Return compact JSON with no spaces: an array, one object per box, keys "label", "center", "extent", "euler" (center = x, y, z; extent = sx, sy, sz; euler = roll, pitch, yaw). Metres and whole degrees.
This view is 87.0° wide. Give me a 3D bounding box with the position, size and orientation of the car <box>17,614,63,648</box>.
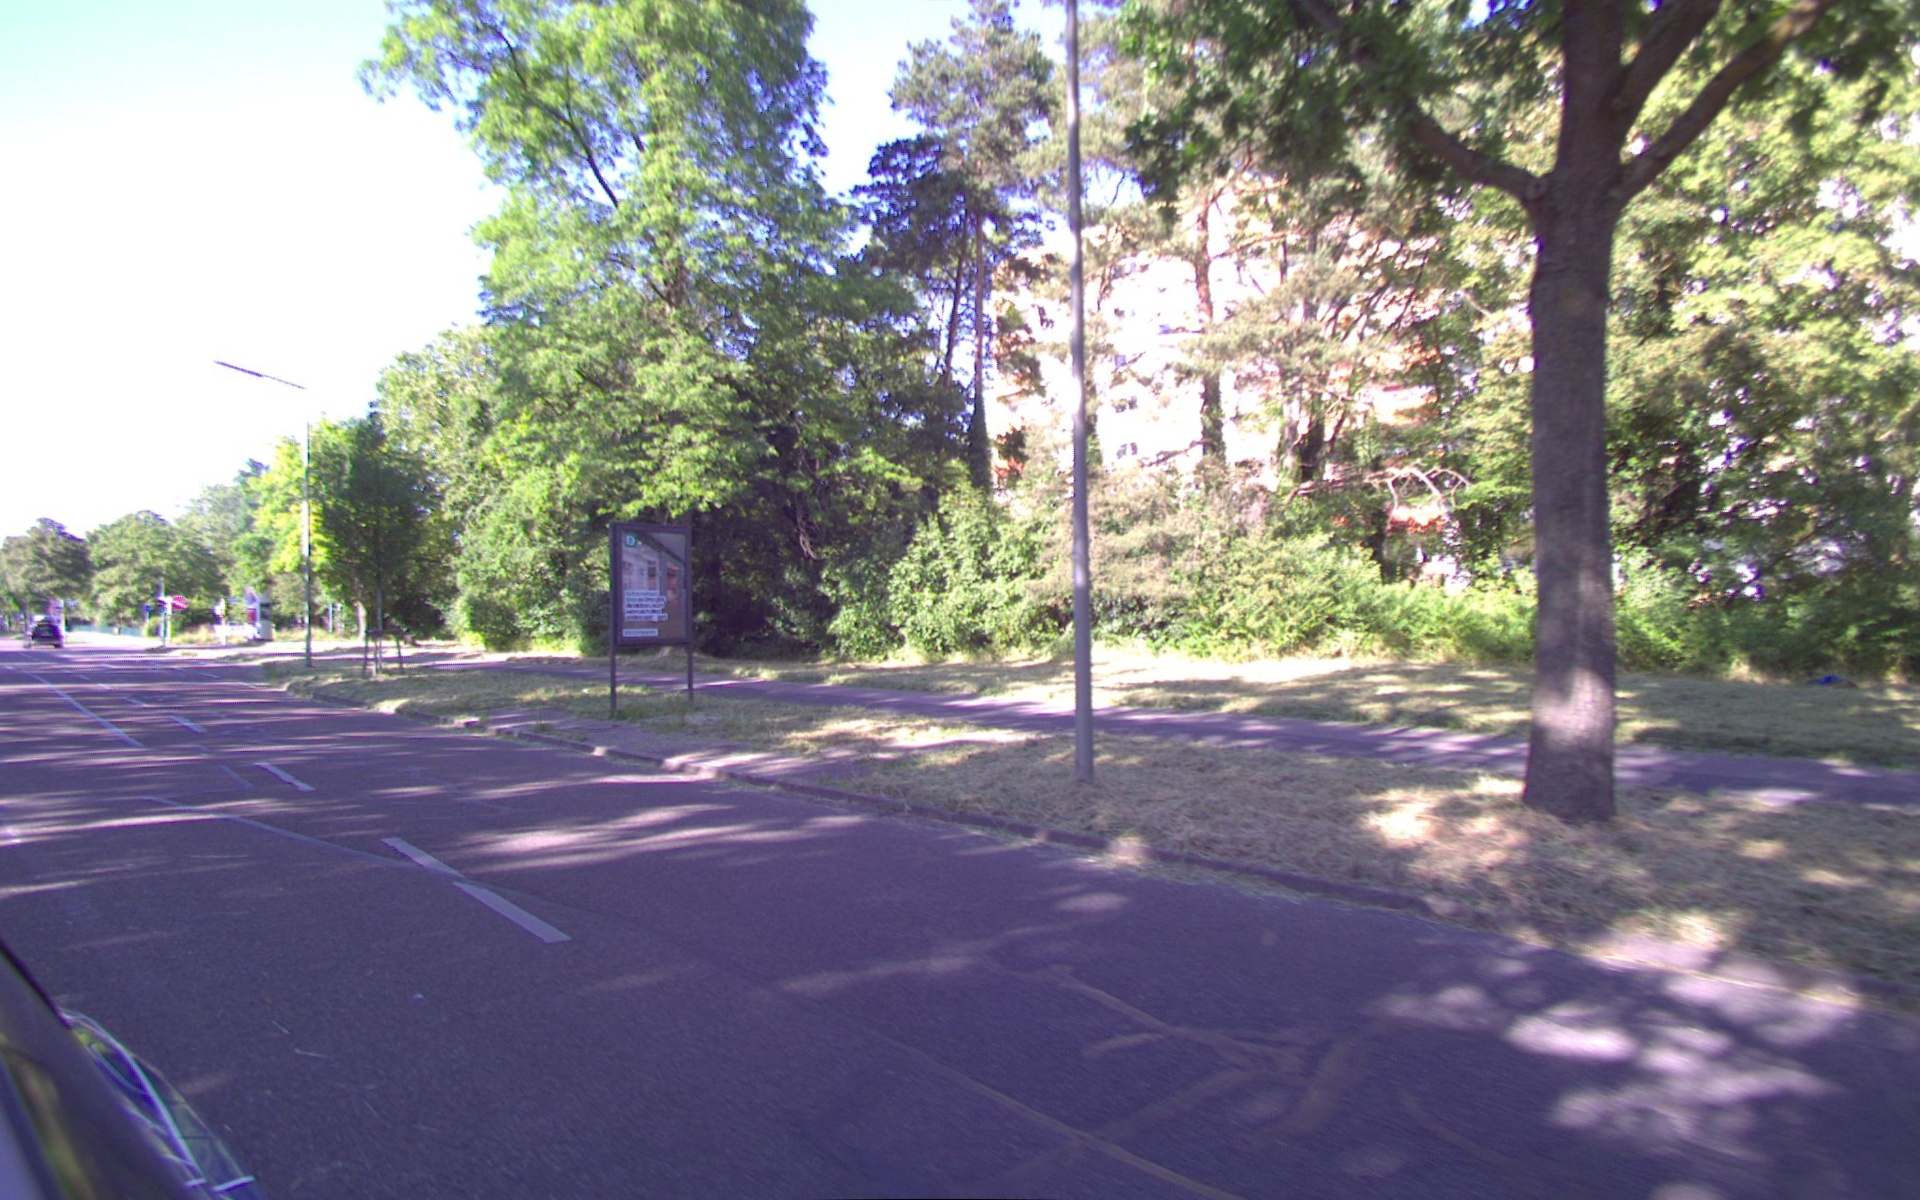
[{"label":"car","center":[-59.612,2.010,65.587],"extent":[3.642,2.111,1.878],"euler":[-1,-3,44]}]
